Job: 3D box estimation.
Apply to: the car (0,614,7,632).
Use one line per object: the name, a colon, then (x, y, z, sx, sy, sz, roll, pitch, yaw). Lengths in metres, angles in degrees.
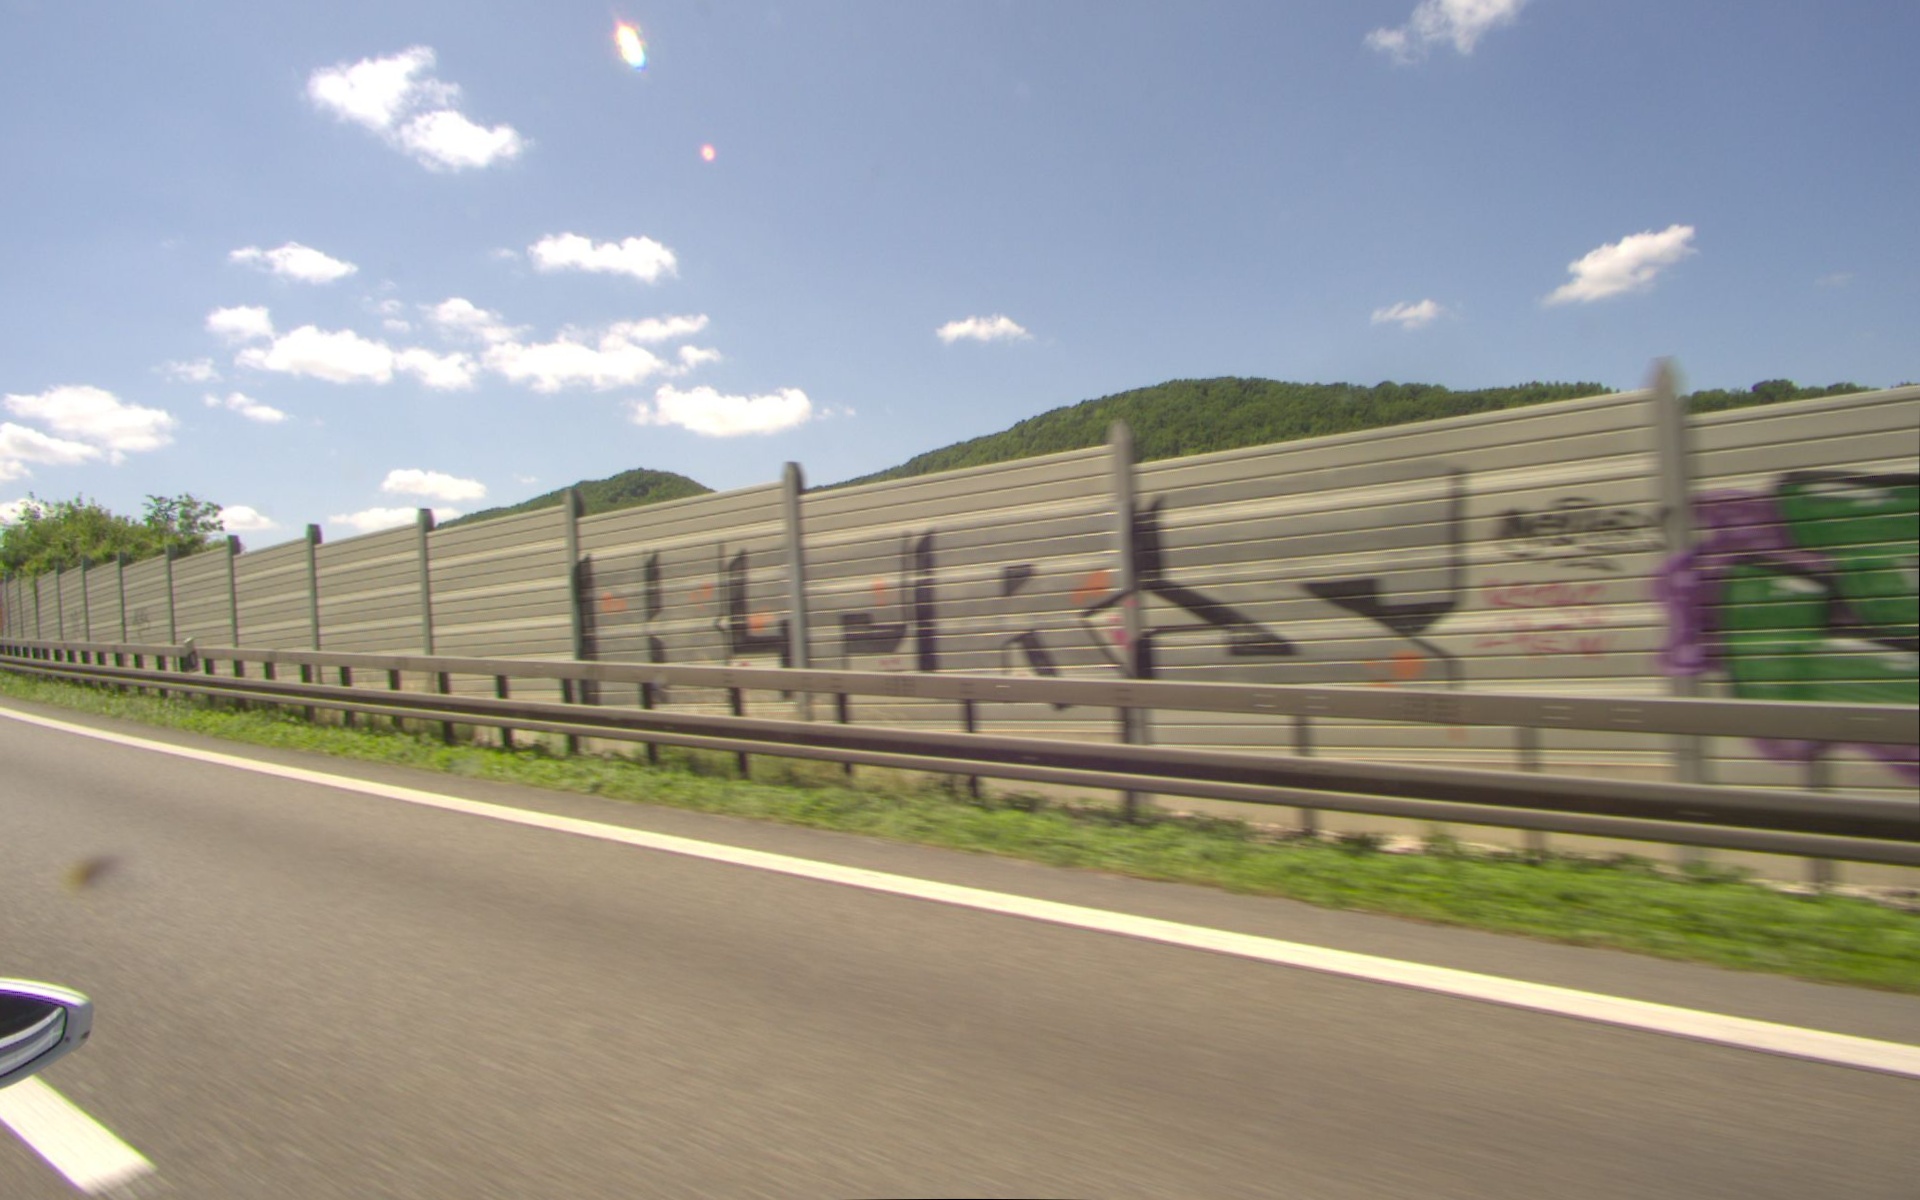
car: (-95.938, 2.317, 98.908, 1.974, 1.739, 3.974, -1, 0, -34)
